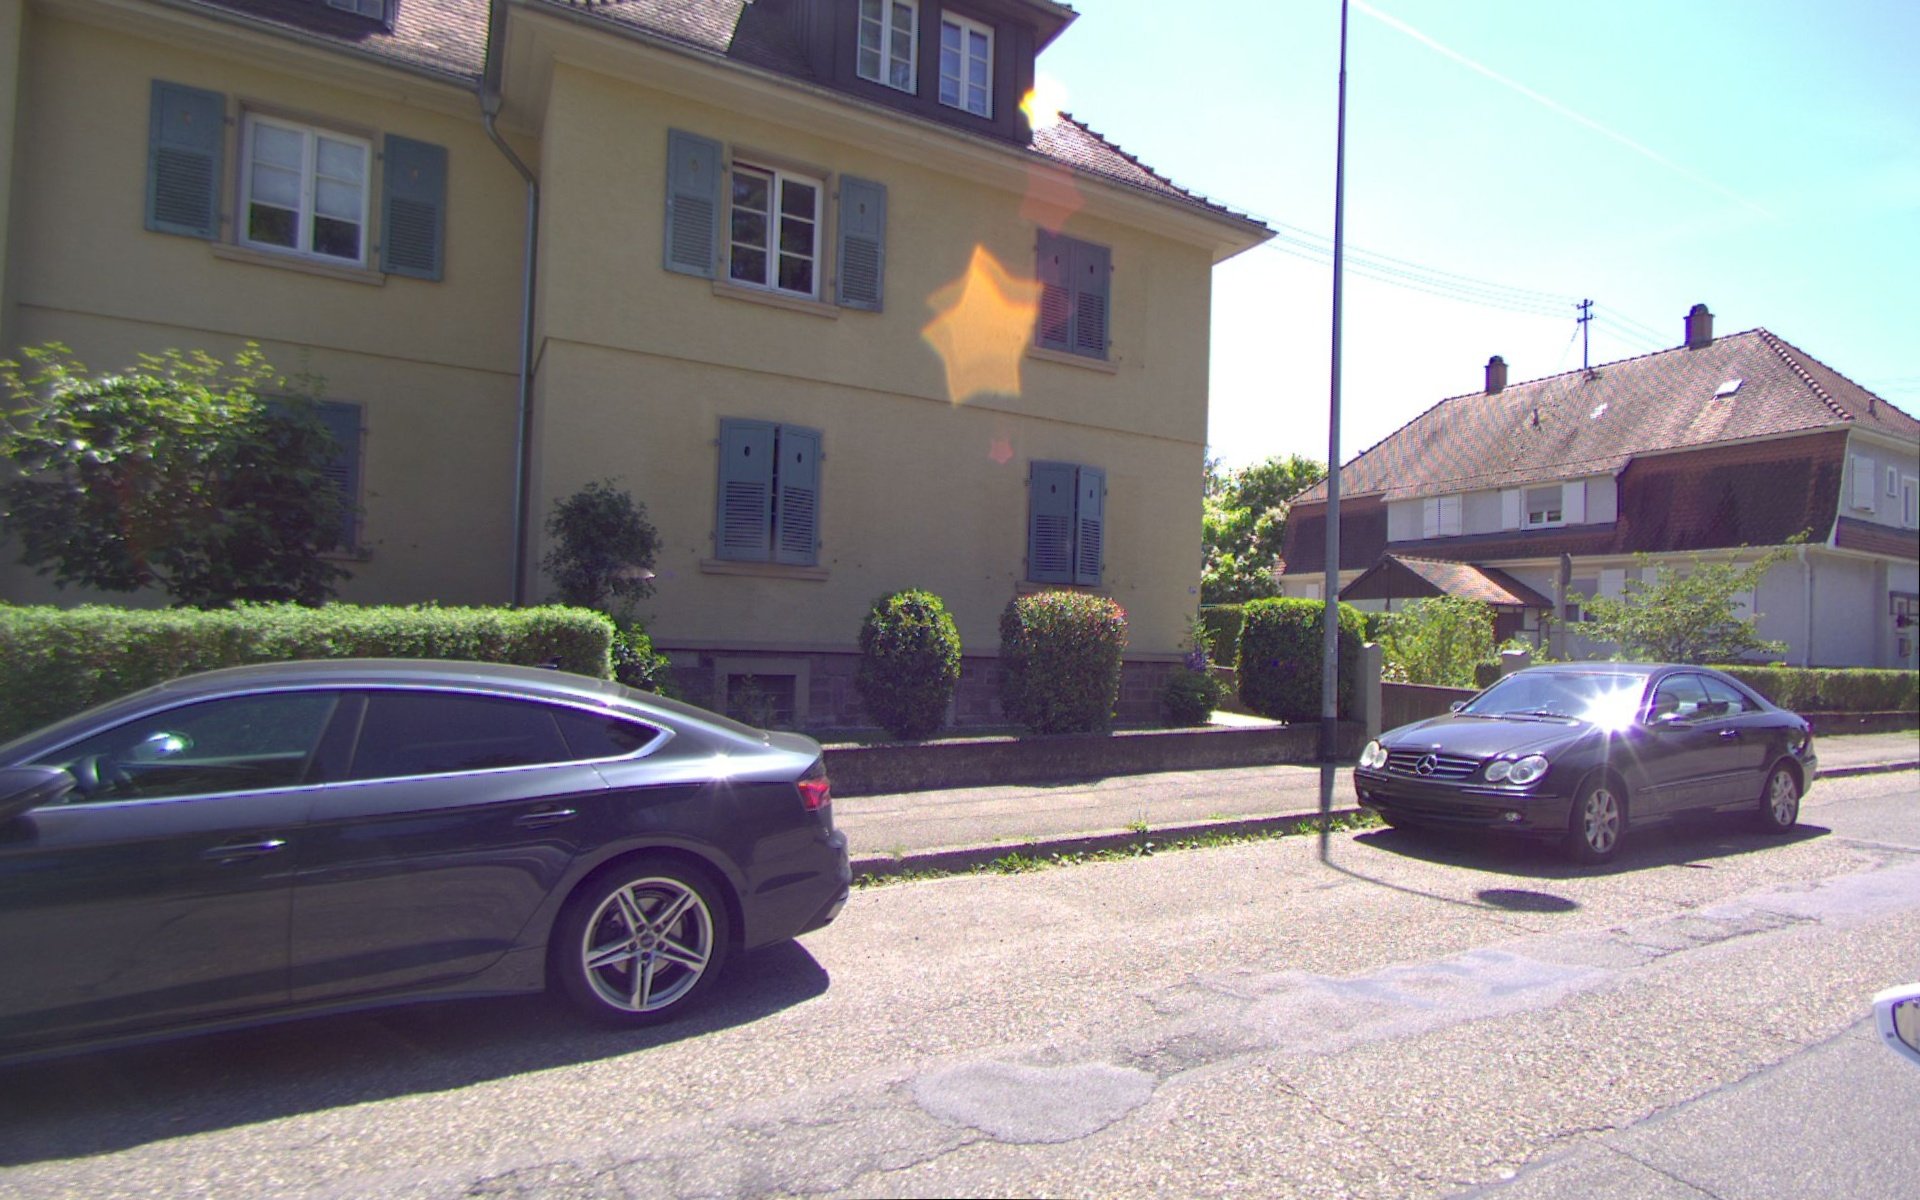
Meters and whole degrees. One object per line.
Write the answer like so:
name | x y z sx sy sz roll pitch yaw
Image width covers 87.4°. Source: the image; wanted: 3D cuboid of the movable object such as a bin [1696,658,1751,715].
movable object such as a bin | 18.734 2.111 24.653 0.909 1.339 0.815 3 -2 -31

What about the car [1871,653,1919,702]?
car | 34.265 2.697 34.641 1.857 1.663 3.852 2 -3 -28

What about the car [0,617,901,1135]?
car | -2.585 0.848 4.015 4.411 1.512 1.659 2 -2 -29

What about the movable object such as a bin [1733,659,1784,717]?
movable object such as a bin | 19.021 2.089 23.921 0.909 1.339 0.686 3 -2 -31

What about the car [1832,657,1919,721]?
car | 30.028 2.776 31.346 1.857 1.930 3.852 2 -3 -28

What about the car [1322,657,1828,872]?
car | 5.188 1.187 8.359 4.326 1.404 1.659 2 -4 -29

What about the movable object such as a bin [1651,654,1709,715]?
movable object such as a bin | 18.186 2.126 25.380 0.997 1.492 0.873 3 -2 -31
